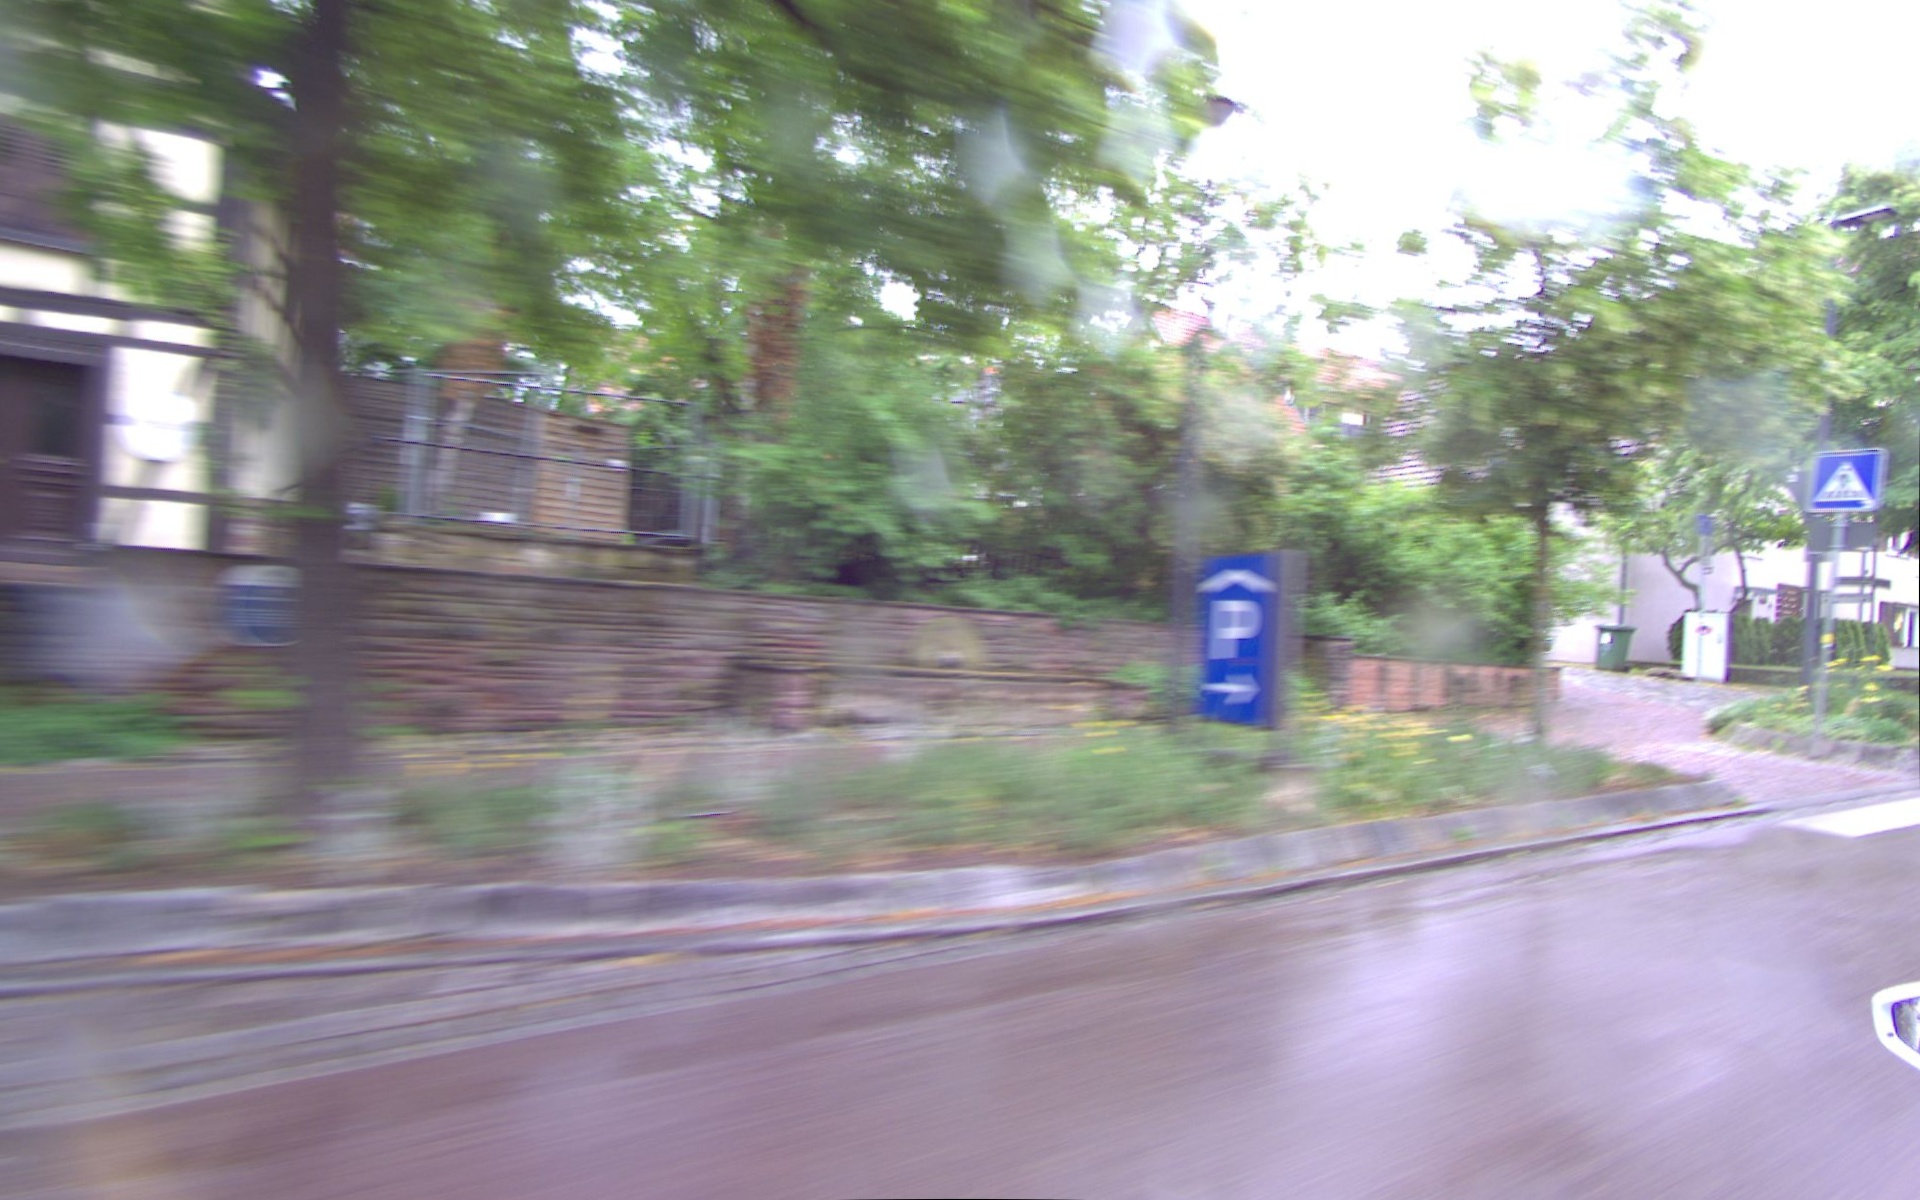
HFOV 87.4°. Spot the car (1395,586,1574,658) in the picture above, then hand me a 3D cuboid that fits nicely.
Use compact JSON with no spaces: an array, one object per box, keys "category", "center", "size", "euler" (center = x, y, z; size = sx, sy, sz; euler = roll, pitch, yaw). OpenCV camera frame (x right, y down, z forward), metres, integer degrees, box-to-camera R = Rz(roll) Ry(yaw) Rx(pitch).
[{"category":"car","center":[14.368,0.537,27.864],"size":[1.965,1.710,4.434],"euler":[3,0,-12]}]

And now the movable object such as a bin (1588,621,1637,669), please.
[{"category":"movable object such as a bin","center":[14.786,1.012,22.762],"size":[0.727,1.048,0.572],"euler":[2,0,-17]}]
